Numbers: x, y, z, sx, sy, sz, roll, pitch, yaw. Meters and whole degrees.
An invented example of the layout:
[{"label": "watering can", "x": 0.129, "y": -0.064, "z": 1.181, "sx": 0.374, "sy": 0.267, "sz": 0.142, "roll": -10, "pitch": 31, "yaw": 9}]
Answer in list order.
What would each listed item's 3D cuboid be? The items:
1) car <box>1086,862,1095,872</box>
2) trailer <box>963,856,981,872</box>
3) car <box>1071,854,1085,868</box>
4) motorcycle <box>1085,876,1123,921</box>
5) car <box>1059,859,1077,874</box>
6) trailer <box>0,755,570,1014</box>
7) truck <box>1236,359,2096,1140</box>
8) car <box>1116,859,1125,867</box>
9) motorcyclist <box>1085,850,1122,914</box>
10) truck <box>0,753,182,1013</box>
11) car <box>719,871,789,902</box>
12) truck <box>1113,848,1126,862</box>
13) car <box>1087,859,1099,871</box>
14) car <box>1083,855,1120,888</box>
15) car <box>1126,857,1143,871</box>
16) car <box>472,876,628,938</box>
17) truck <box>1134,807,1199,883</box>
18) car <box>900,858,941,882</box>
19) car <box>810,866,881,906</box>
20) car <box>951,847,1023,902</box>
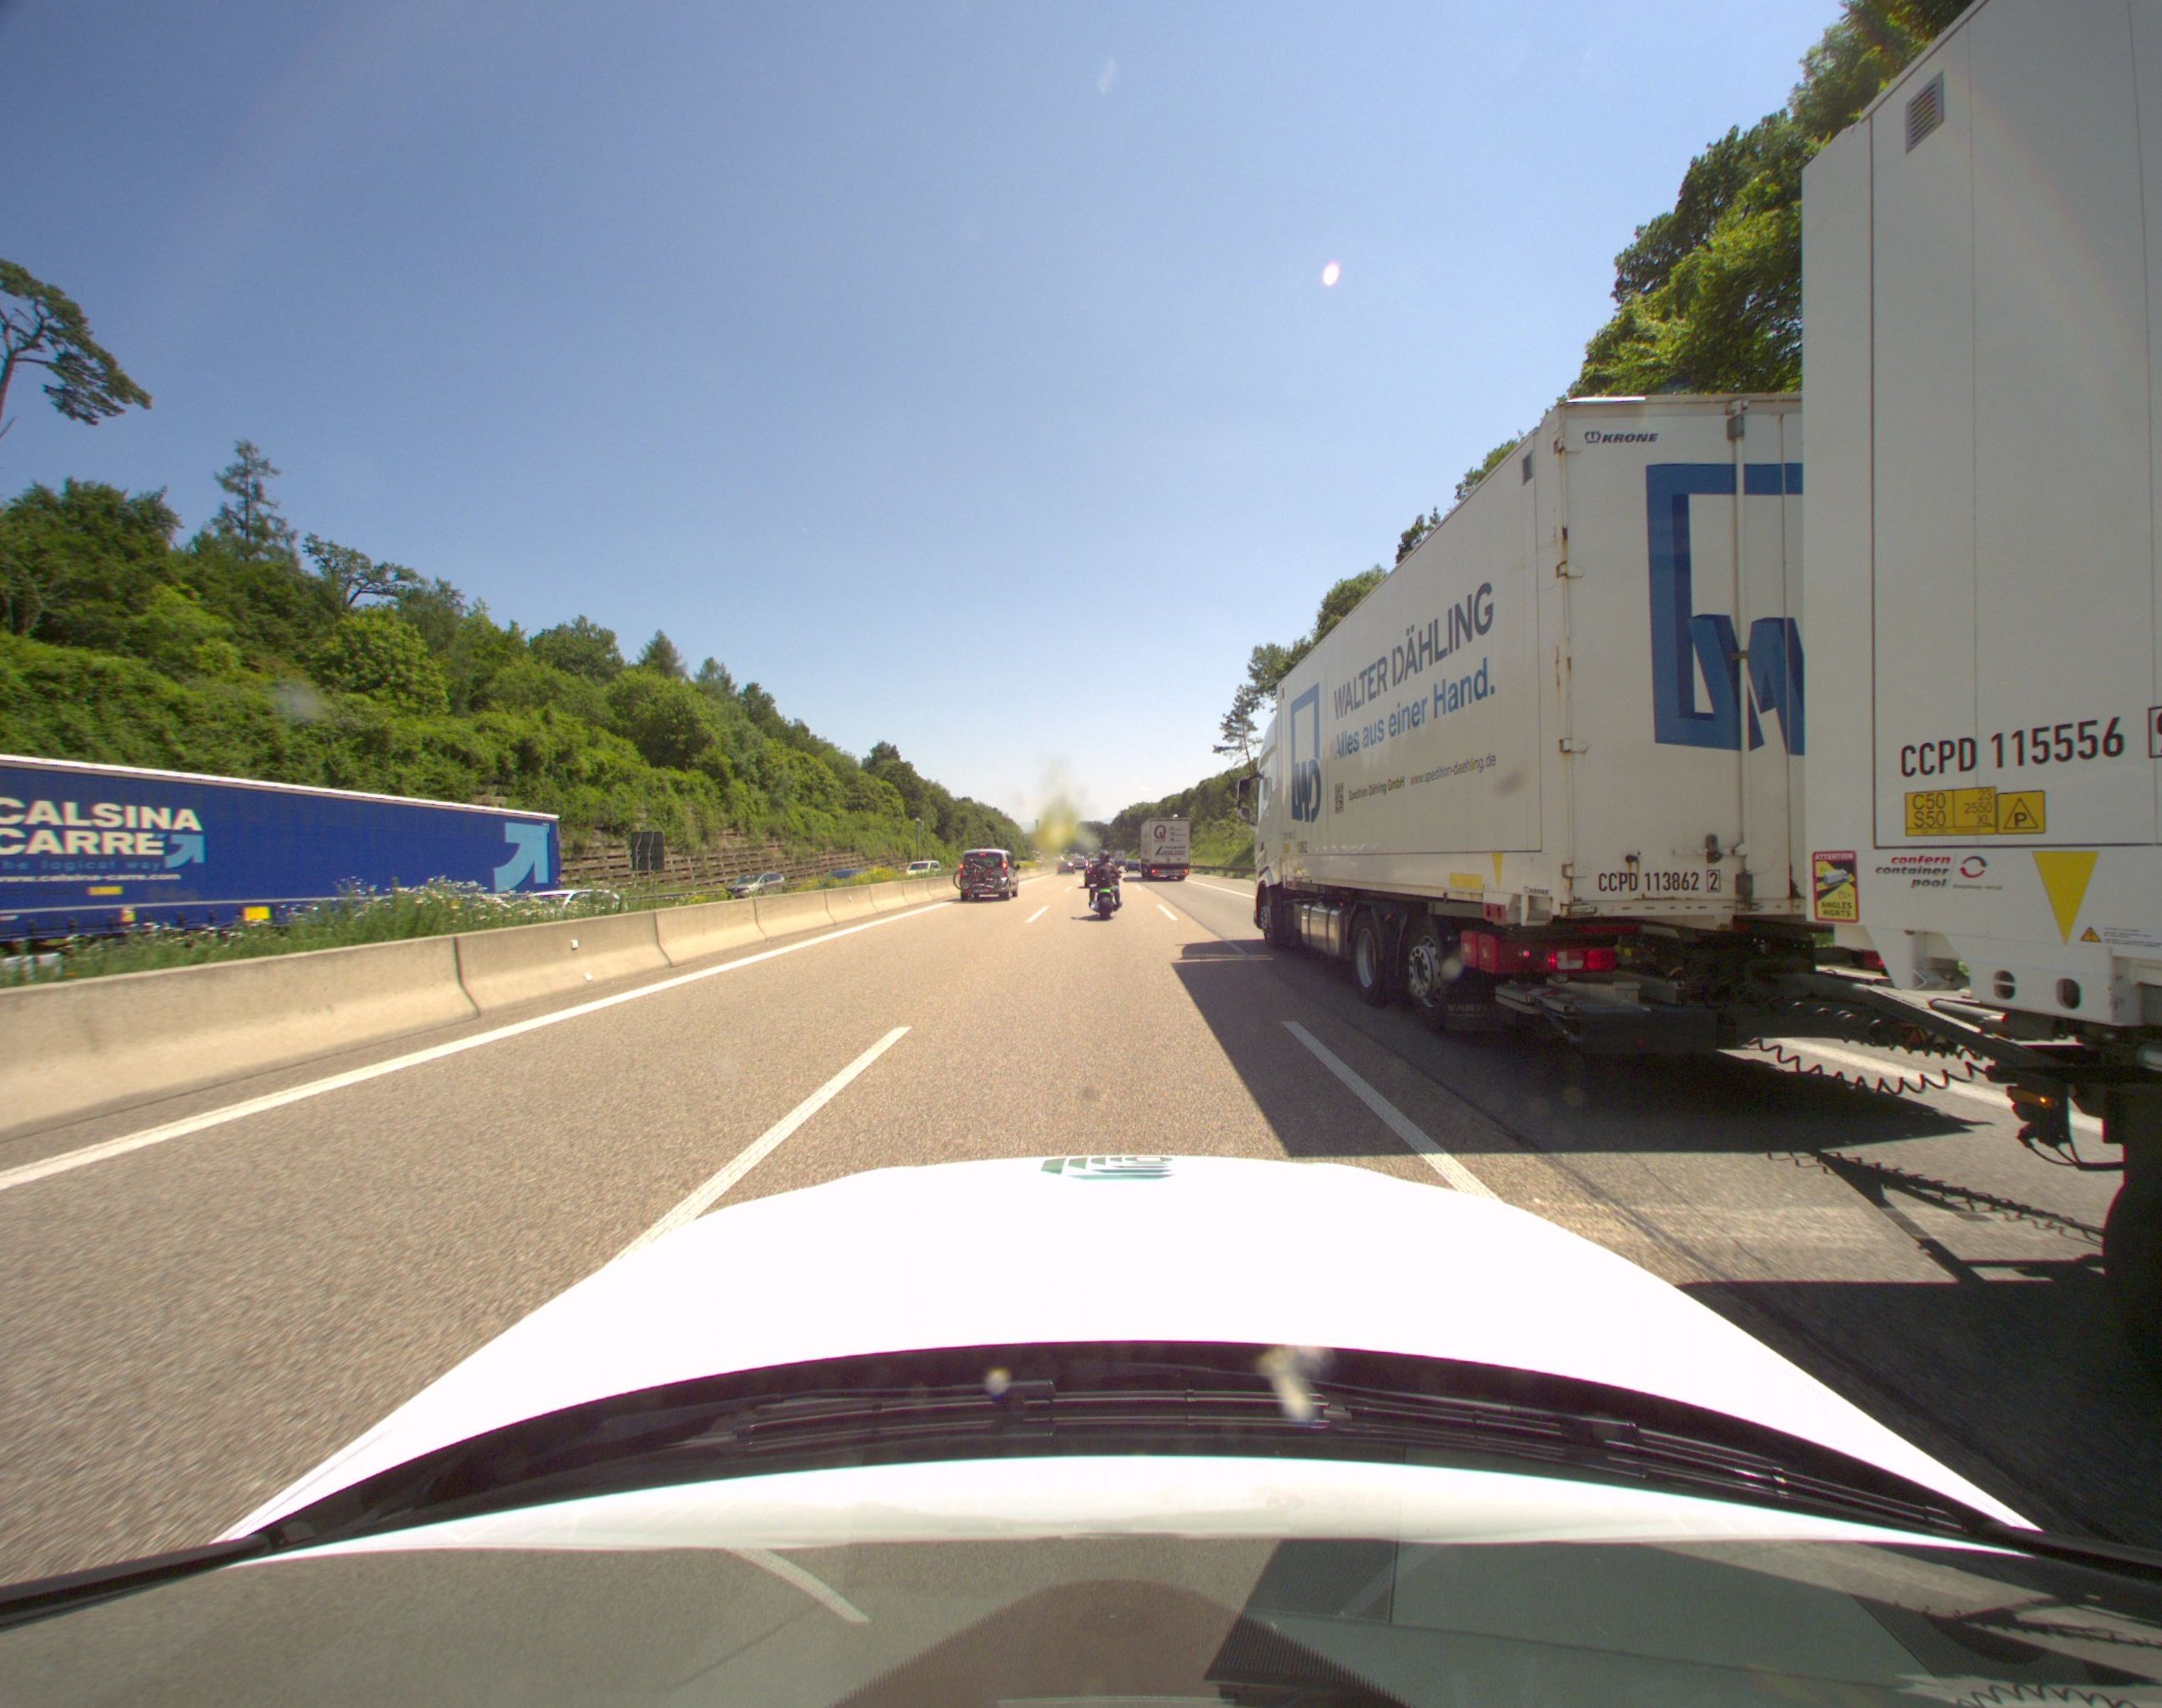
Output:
[{"label": "car", "x": 1.920, "y": 2.612, "z": 167.229, "sx": 1.824, "sy": 1.810, "sz": 4.121, "roll": 0, "pitch": 1, "yaw": 1}, {"label": "trailer", "x": -15.686, "y": 1.416, "z": 117.564, "sx": 1.888, "sy": 2.117, "sz": 3.497, "roll": -2, "pitch": 0, "yaw": 3}, {"label": "car", "x": -0.435, "y": 0.919, "z": 112.663, "sx": 1.824, "sy": 1.810, "sz": 4.121, "roll": 0, "pitch": 1, "yaw": 1}, {"label": "motorcycle", "x": 0.578, "y": 1.056, "z": 19.988, "sx": 0.859, "sy": 0.982, "sz": 2.132, "roll": -1, "pitch": 0, "yaw": 2}, {"label": "car", "x": -1.381, "y": 1.317, "z": 86.816, "sx": 1.751, "sy": 1.543, "sz": 4.396, "roll": 0, "pitch": 1, "yaw": 1}, {"label": "trailer", "x": -17.960, "y": 0.445, "z": 19.072, "sx": 2.670, "sy": 4.015, "sz": 14.192, "roll": -1, "pitch": 0, "yaw": 1}, {"label": "truck", "x": 4.064, "y": -0.584, "z": 9.570, "sx": 2.670, "sy": 4.059, "sz": 10.628, "roll": 0, "pitch": 0, "yaw": 1}, {"label": "car", "x": 8.858, "y": 2.027, "z": 183.739, "sx": 1.824, "sy": 1.558, "sz": 4.121, "roll": 0, "pitch": 1, "yaw": 1}, {"label": "motorcyclist", "x": 0.562, "y": 0.670, "z": 19.913, "sx": 0.852, "sy": 1.515, "sz": 0.914, "roll": -1, "pitch": 0, "yaw": 2}, {"label": "truck", "x": -18.116, "y": 0.482, "z": 12.133, "sx": 2.670, "sy": 4.030, "sz": 5.933, "roll": -1, "pitch": 0, "yaw": 1}, {"label": "car", "x": -18.195, "y": 1.751, "z": 45.566, "sx": 1.651, "sy": 1.453, "sz": 4.925, "roll": -1, "pitch": 0, "yaw": 2}, {"label": "truck", "x": 9.821, "y": 0.252, "z": 206.888, "sx": 3.056, "sy": 3.346, "sz": 9.655, "roll": 1, "pitch": 0, "yaw": 2}, {"label": "car", "x": 1.950, "y": 1.735, "z": 131.594, "sx": 1.824, "sy": 1.810, "sz": 4.121, "roll": 0, "pitch": 1, "yaw": 1}, {"label": "car", "x": 1.073, "y": 0.886, "z": 42.521, "sx": 1.839, "sy": 1.557, "sz": 4.441, "roll": 0, "pitch": 1, "yaw": 1}, {"label": "car", "x": 6.122, "y": 1.118, "z": 93.181, "sx": 1.824, "sy": 1.558, "sz": 4.121, "roll": 0, "pitch": 1, "yaw": 1}, {"label": "car", "x": -14.166, "y": 1.371, "z": 22.003, "sx": 1.651, "sy": 1.376, "sz": 3.714, "roll": 1, "pitch": 0, "yaw": 2}, {"label": "truck", "x": 5.929, "y": -0.657, "z": 59.835, "sx": 3.371, "sy": 4.717, "sz": 17.715, "roll": 1, "pitch": 0, "yaw": 2}, {"label": "car", "x": -12.234, "y": 1.203, "z": 62.317, "sx": 1.885, "sy": 1.607, "sz": 5.080, "roll": -1, "pitch": 0, "yaw": 2}, {"label": "car", "x": -9.763, "y": 1.281, "z": 34.028, "sx": 1.651, "sy": 1.453, "sz": 3.887, "roll": 1, "pitch": 0, "yaw": 2}, {"label": "car", "x": -3.367, "y": 0.704, "z": 30.152, "sx": 1.891, "sy": 1.848, "sz": 5.484, "roll": 0, "pitch": 0, "yaw": 1}]
